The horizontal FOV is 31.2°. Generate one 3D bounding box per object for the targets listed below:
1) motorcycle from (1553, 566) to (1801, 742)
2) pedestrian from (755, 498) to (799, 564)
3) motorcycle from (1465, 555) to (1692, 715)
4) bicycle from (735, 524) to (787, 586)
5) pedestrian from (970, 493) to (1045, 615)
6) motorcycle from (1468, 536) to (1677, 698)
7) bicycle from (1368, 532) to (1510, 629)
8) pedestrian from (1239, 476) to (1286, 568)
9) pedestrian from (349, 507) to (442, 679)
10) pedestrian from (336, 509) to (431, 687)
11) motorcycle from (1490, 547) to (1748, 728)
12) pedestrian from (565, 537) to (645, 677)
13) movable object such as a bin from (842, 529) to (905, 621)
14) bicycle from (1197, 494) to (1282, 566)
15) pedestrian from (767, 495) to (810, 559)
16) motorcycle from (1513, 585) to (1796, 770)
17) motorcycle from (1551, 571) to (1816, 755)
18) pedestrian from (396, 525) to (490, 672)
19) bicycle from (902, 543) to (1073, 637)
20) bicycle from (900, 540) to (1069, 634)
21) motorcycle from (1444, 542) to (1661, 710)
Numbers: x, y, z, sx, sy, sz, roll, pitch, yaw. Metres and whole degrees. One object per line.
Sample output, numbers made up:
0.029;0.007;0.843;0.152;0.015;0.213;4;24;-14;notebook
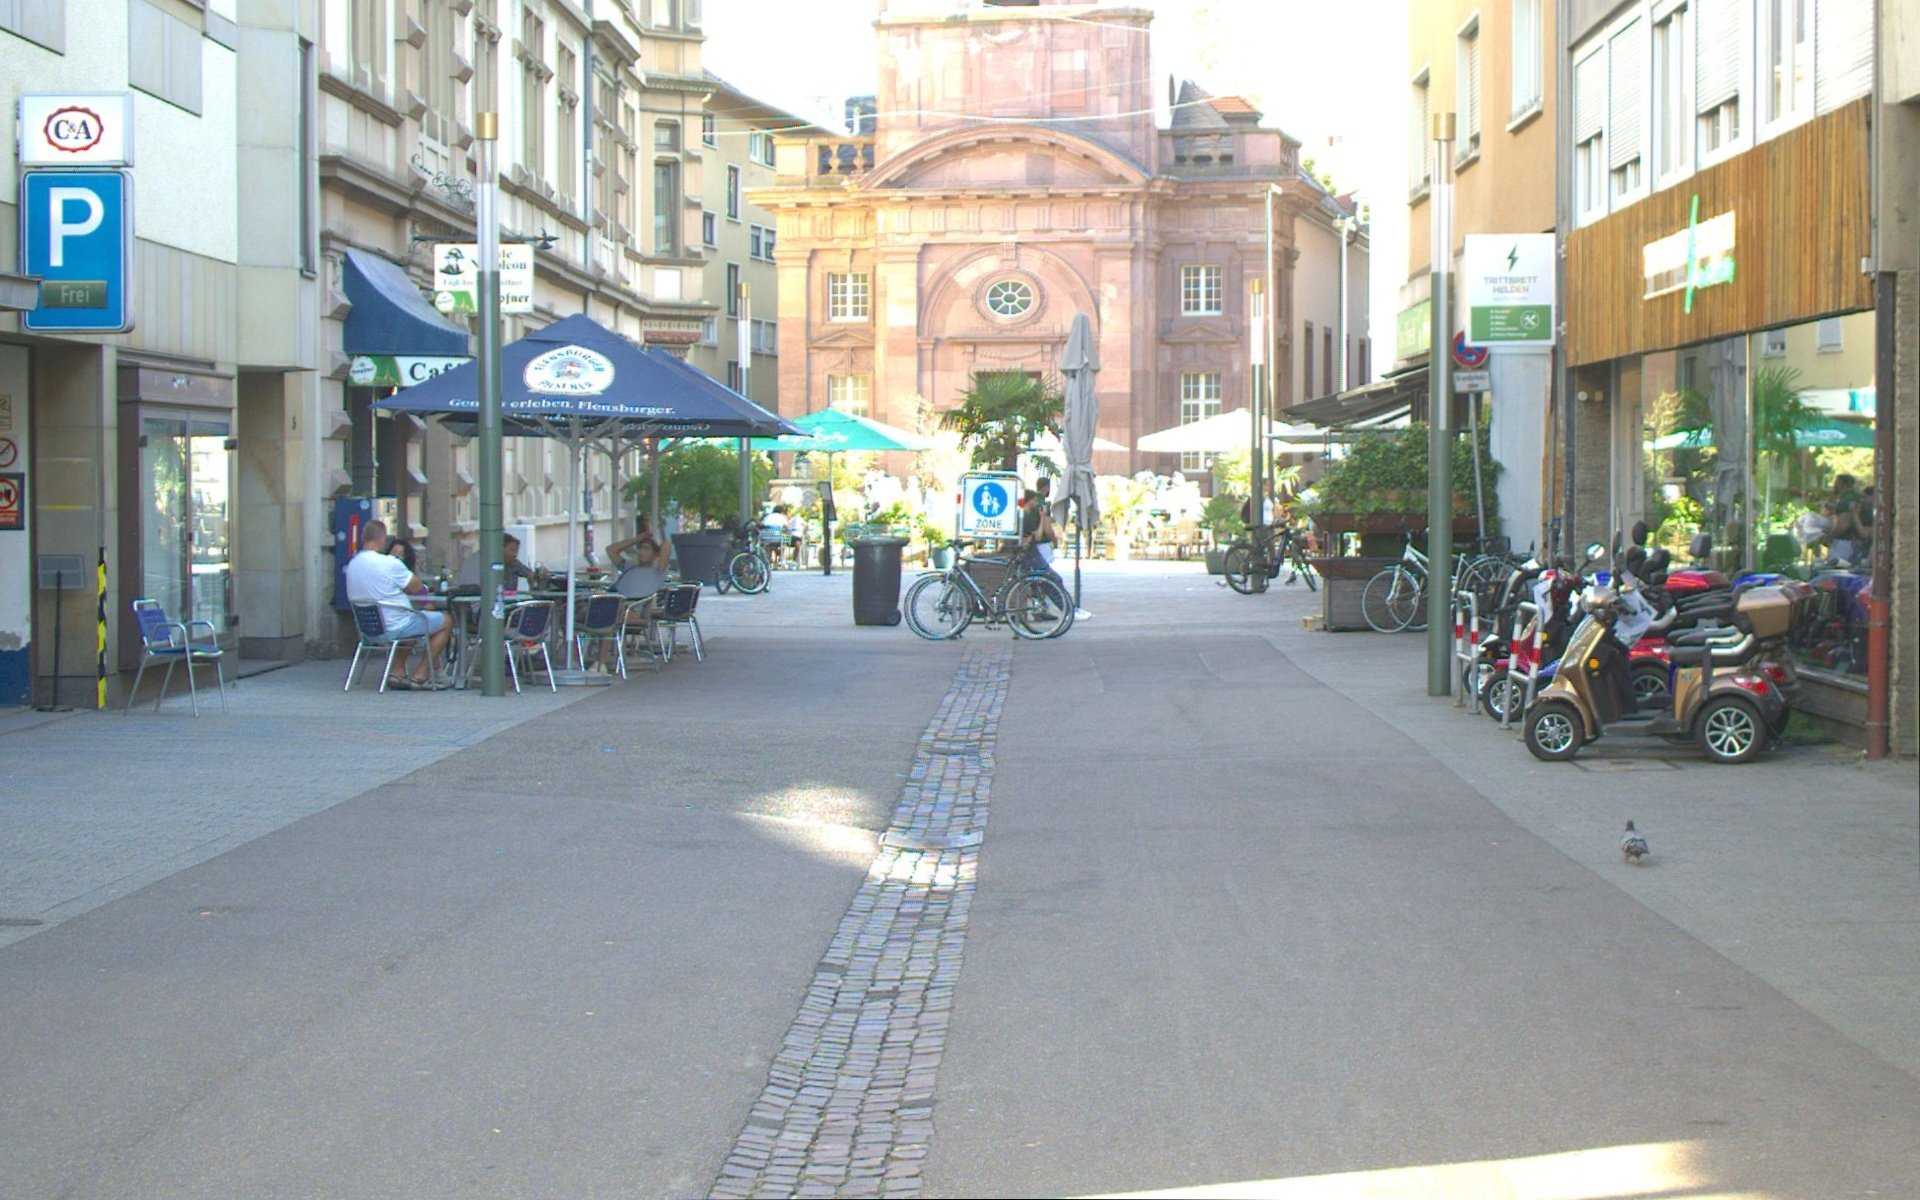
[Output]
4.511;0.330;21.639;1.485;1.072;0.412;0;2;20;motorcycle
-3.382;-1.277;63.578;0.700;1.213;0.719;0;2;7;pedestrian
4.251;0.231;23.642;1.485;1.072;0.412;0;2;20;motorcycle
-2.853;-0.659;49.445;0.456;0.847;2.146;0;2;5;bicycle
0.575;-0.565;41.518;0.884;1.459;0.731;0;2;2;pedestrian
4.548;0.121;25.536;1.485;1.177;0.412;0;2;17;motorcycle
5.063;-0.212;36.336;1.464;1.001;0.573;0;2;8;bicycle
5.097;-1.317;57.945;0.784;1.550;0.535;0;2;6;pedestrian
-4.559;-0.065;27.749;0.717;1.363;0.710;0;2;-11;pedestrian
-4.500;-0.025;26.813;0.708;1.363;0.720;0;2;-11;pedestrian
4.383;0.240;22.874;1.626;1.171;0.480;0;2;20;motorcycle
-3.131;0.059;30.328;0.692;1.211;0.583;0;2;-7;pedestrian
-1.012;-0.294;40.318;0.721;1.071;0.374;0;2;0;movable object such as a bin
5.102;-1.275;62.635;1.586;1.303;0.366;-1;2;-27;bicycle
-3.245;-1.384;65.004;0.700;1.213;0.719;0;2;7;pedestrian
4.018;0.436;19.913;1.565;1.038;0.372;0;2;20;motorcycle
4.345;0.367;20.650;1.518;1.072;0.412;0;2;20;motorcycle
-4.437;-0.022;29.546;0.765;1.229;0.831;0;2;-7;pedestrian
0.292;-0.110;37.008;1.823;1.001;0.381;0;2;-2;bicycle
0.263;-0.144;37.412;1.823;1.001;0.381;0;2;-2;bicycle
4.224;0.181;24.510;1.485;1.177;0.412;0;2;17;motorcycle
